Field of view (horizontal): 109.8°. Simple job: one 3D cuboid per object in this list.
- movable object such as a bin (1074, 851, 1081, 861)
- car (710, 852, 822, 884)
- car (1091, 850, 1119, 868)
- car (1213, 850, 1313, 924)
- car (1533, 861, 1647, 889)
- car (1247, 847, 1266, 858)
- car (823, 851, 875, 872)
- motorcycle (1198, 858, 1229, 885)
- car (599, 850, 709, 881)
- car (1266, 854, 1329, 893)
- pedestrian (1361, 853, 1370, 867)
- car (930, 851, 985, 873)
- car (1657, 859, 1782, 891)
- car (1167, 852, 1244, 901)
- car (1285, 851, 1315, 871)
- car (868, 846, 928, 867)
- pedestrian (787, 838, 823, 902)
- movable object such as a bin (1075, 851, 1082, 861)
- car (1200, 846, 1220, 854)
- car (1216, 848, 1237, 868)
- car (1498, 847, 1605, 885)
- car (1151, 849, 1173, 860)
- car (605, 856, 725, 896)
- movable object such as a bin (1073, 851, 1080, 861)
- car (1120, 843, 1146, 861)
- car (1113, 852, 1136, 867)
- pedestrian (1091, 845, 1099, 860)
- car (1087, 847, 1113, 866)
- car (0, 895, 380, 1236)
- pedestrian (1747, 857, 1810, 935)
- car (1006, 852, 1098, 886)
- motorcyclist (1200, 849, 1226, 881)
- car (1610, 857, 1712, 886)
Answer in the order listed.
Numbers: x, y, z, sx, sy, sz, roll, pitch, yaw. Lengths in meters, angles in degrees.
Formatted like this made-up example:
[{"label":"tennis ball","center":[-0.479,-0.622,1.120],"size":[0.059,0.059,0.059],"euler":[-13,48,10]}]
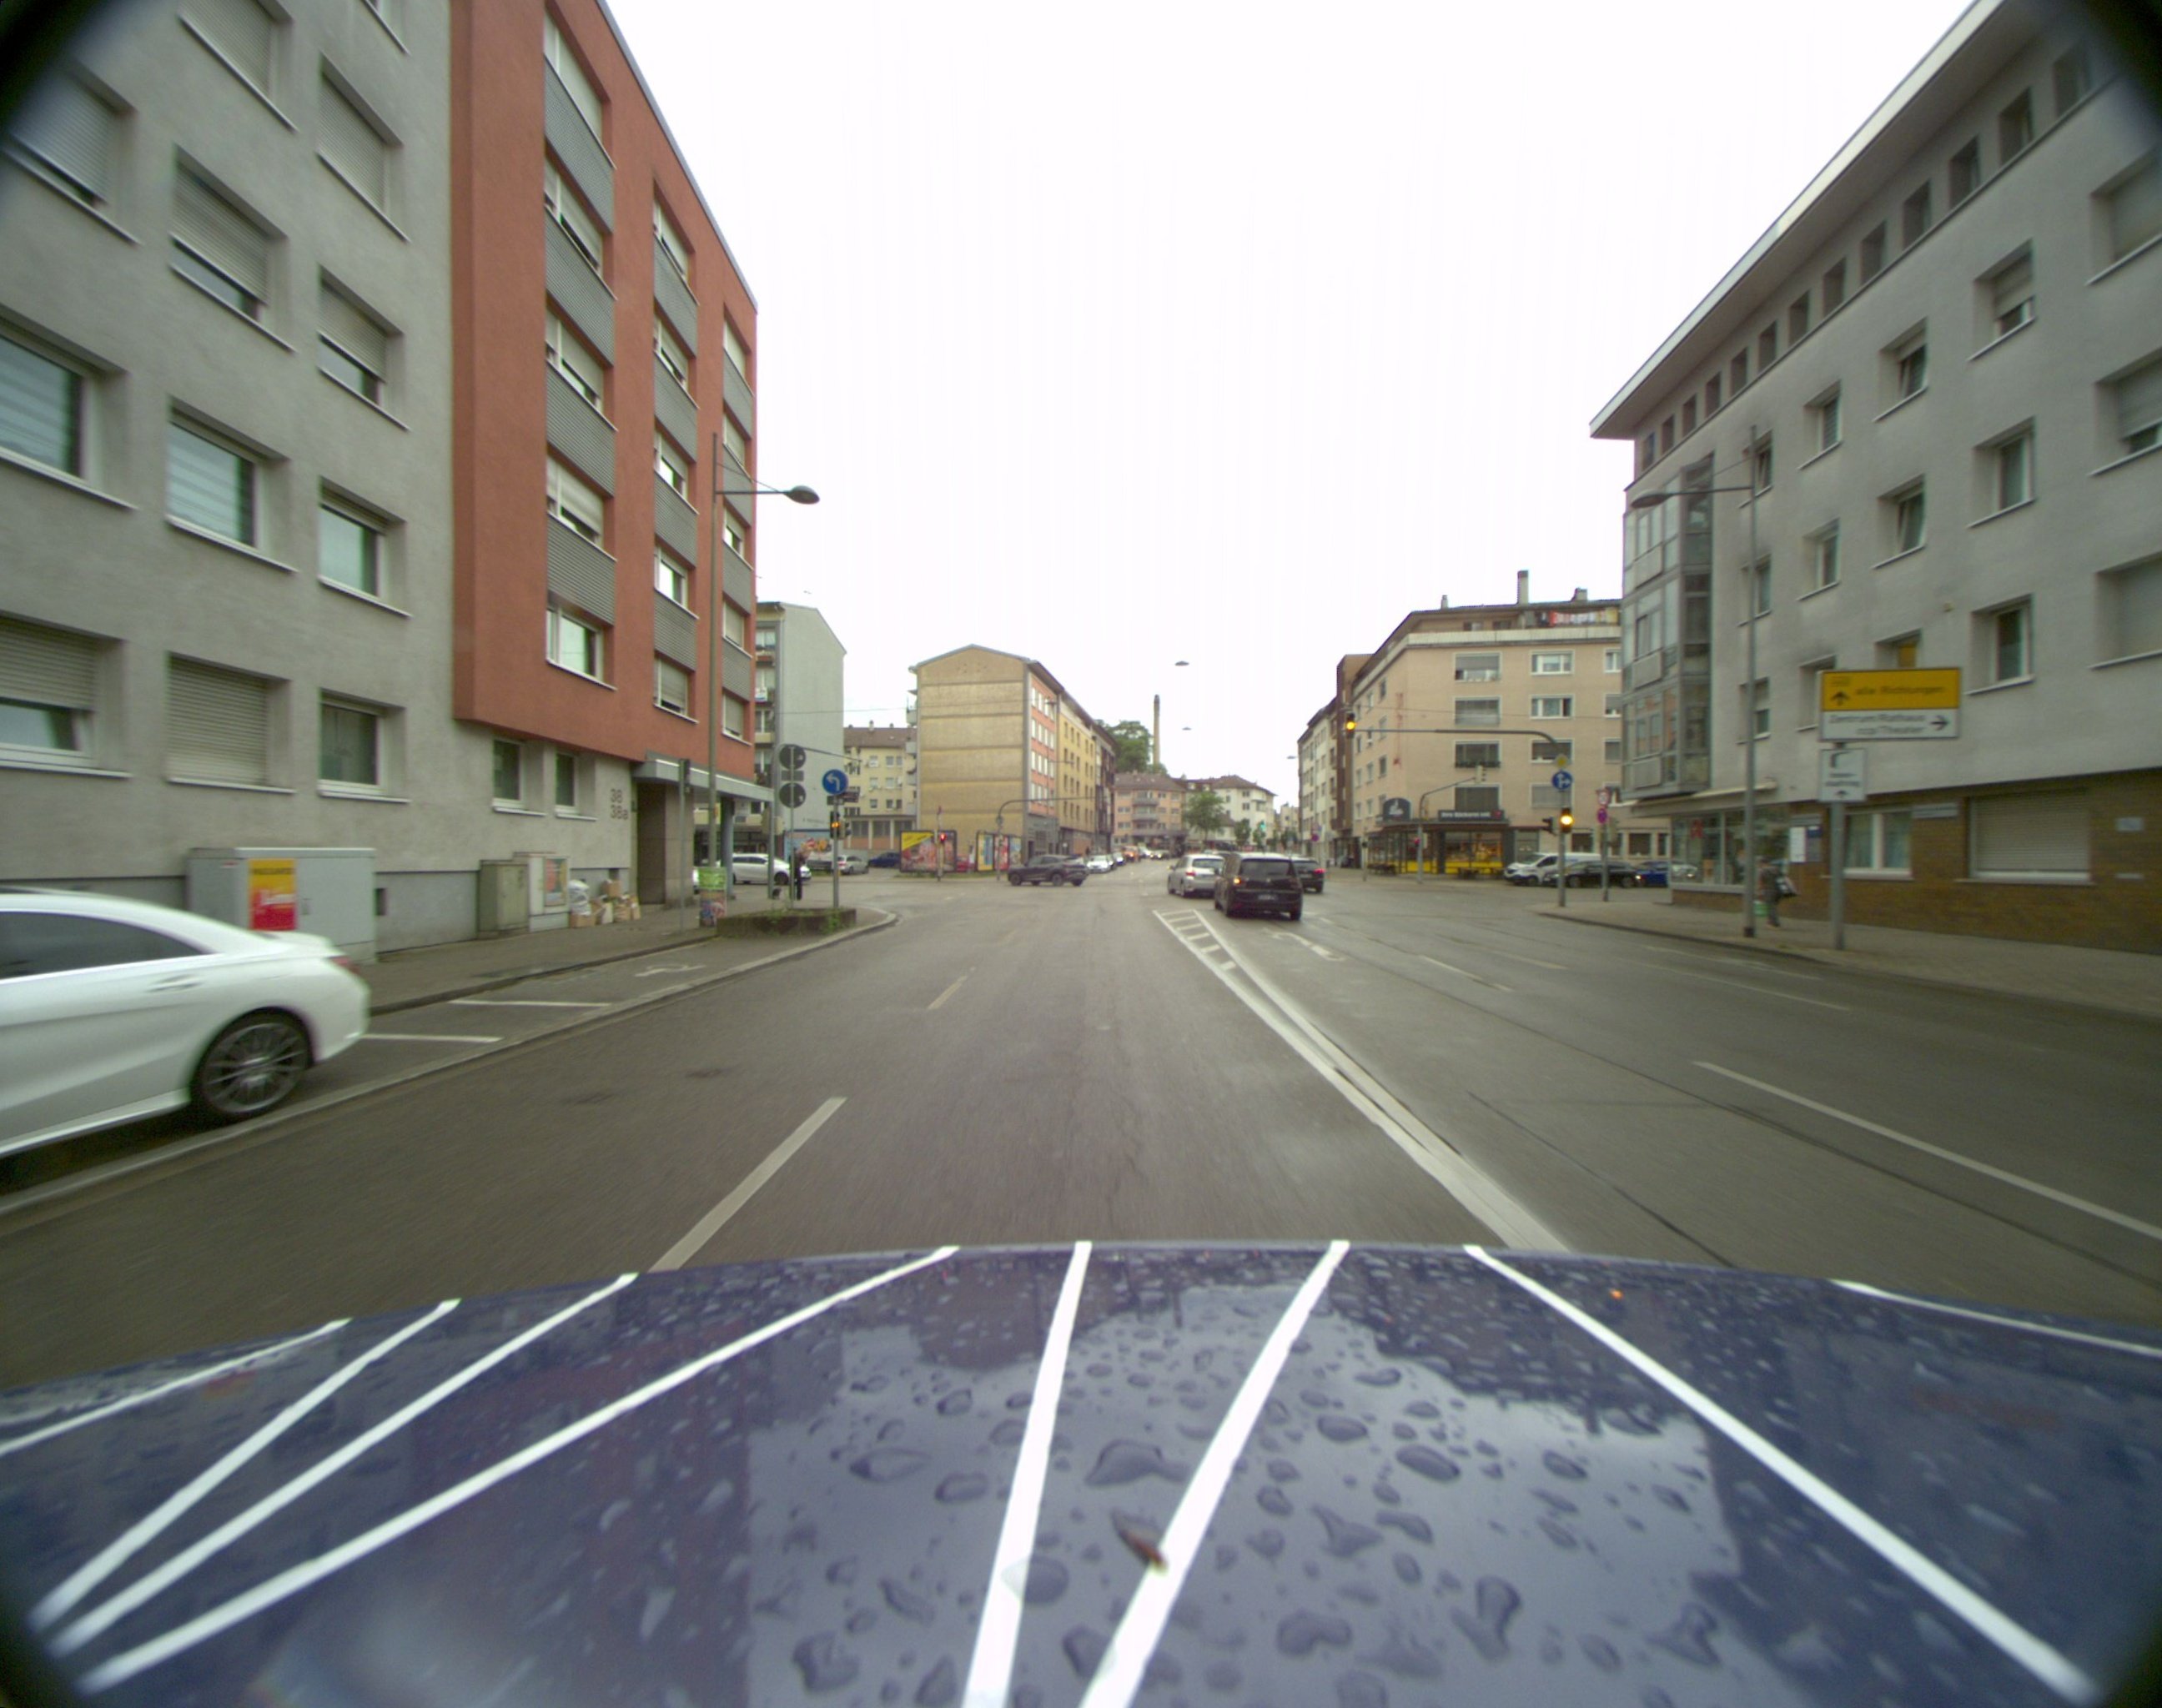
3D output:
[{"label":"movable object such as a bin","center":[-0.385,0.187,84.142],"size":[0.682,1.070,0.669],"euler":[0,2,9]},{"label":"car","center":[-15.275,0.643,36.986],"size":[4.660,1.477,1.920],"euler":[1,1,6]},{"label":"car","center":[2.273,0.416,69.881],"size":[2.038,1.380,5.295],"euler":[1,2,8]},{"label":"car","center":[4.543,0.740,19.592],"size":[1.825,1.599,4.431],"euler":[1,1,5]},{"label":"car","center":[25.499,1.043,38.186],"size":[4.337,1.368,2.047],"euler":[0,-1,0]},{"label":"car","center":[33.039,-0.315,142.938],"size":[1.994,2.002,4.008],"euler":[-2,0,34]},{"label":"car","center":[-16.449,0.535,54.114],"size":[1.878,1.431,4.334],"euler":[0,0,8]},{"label":"motorcycle","center":[6.243,0.803,35.866],"size":[0.589,1.184,2.099],"euler":[-1,1,-16]},{"label":"car","center":[-21.056,0.547,37.531],"size":[4.518,1.477,1.846],"euler":[1,1,7]},{"label":"car","center":[9.146,0.788,32.480],"size":[1.824,1.425,4.400],"euler":[1,1,6]},{"label":"pedestrian","center":[25.155,0.528,67.190],"size":[0.609,1.141,0.632],"euler":[0,1,9]},{"label":"car","center":[-8.960,0.584,55.367],"size":[3.661,1.542,2.088],"euler":[0,0,1]},{"label":"car","center":[32.274,1.078,38.509],"size":[4.652,1.580,2.046],"euler":[0,-1,-1]},{"label":"car","center":[4.369,0.746,27.321],"size":[1.939,1.518,4.133],"euler":[0,1,-2]},{"label":"car","center":[18.367,0.541,63.806],"size":[1.911,1.545,4.633],"euler":[1,1,10]},{"label":"car","center":[-15.797,0.231,65.521],"size":[4.767,1.679,2.159],"euler":[-2,0,27]},{"label":"pedestrian","center":[-9.440,0.551,25.979],"size":[0.827,2.145,0.770],"euler":[-2,0,7]},{"label":"movable object such as a bin","center":[-0.281,0.193,84.820],"size":[0.682,1.070,0.669],"euler":[0,2,9]},{"label":"car","center":[21.003,-0.640,123.403],"size":[1.810,1.334,4.007],"euler":[-2,0,30]},{"label":"car","center":[12.969,0.342,67.885],"size":[1.824,1.630,4.376],"euler":[1,1,10]},{"label":"car","center":[27.237,0.677,44.115],"size":[4.862,2.091,2.046],"euler":[0,3,4]},{"label":"car","center":[11.412,0.046,106.628],"size":[1.840,1.433,4.007],"euler":[-2,0,26]},{"label":"car","center":[-16.594,0.842,30.387],"size":[3.953,1.477,1.703],"euler":[1,1,7]},{"label":"movable object such as a bin","center":[-0.507,0.205,83.451],"size":[0.682,1.070,0.669],"euler":[0,2,9]},{"label":"car","center":[6.464,-0.246,93.507],"size":[2.196,2.074,5.939],"euler":[0,1,13]},{"label":"car","center":[4.656,0.548,81.528],"size":[1.810,1.332,4.280],"euler":[2,2,12]},{"label":"pedestrian","center":[1.644,-0.209,89.659],"size":[0.674,1.777,1.096],"euler":[0,1,12]},{"label":"car","center":[1.658,0.214,64.064],"size":[1.679,1.396,4.001],"euler":[0,3,9]},{"label":"car","center":[-5.775,1.015,3.022],"size":[1.779,1.393,4.579],"euler":[2,0,-1]},{"label":"pedestrian","center":[14.649,0.869,15.972],"size":[0.688,1.572,0.652],"euler":[-2,0,9]},{"label":"car","center":[-1.448,0.699,37.500],"size":[4.214,1.544,1.866],"euler":[1,1,32]},{"label":"motorcyclist","center":[6.231,0.496,35.870],"size":[0.918,1.485,0.863],"euler":[-1,1,-16]},{"label":"car","center":[33.689,0.997,44.210],"size":[4.337,1.547,2.045],"euler":[0,3,0]}]
